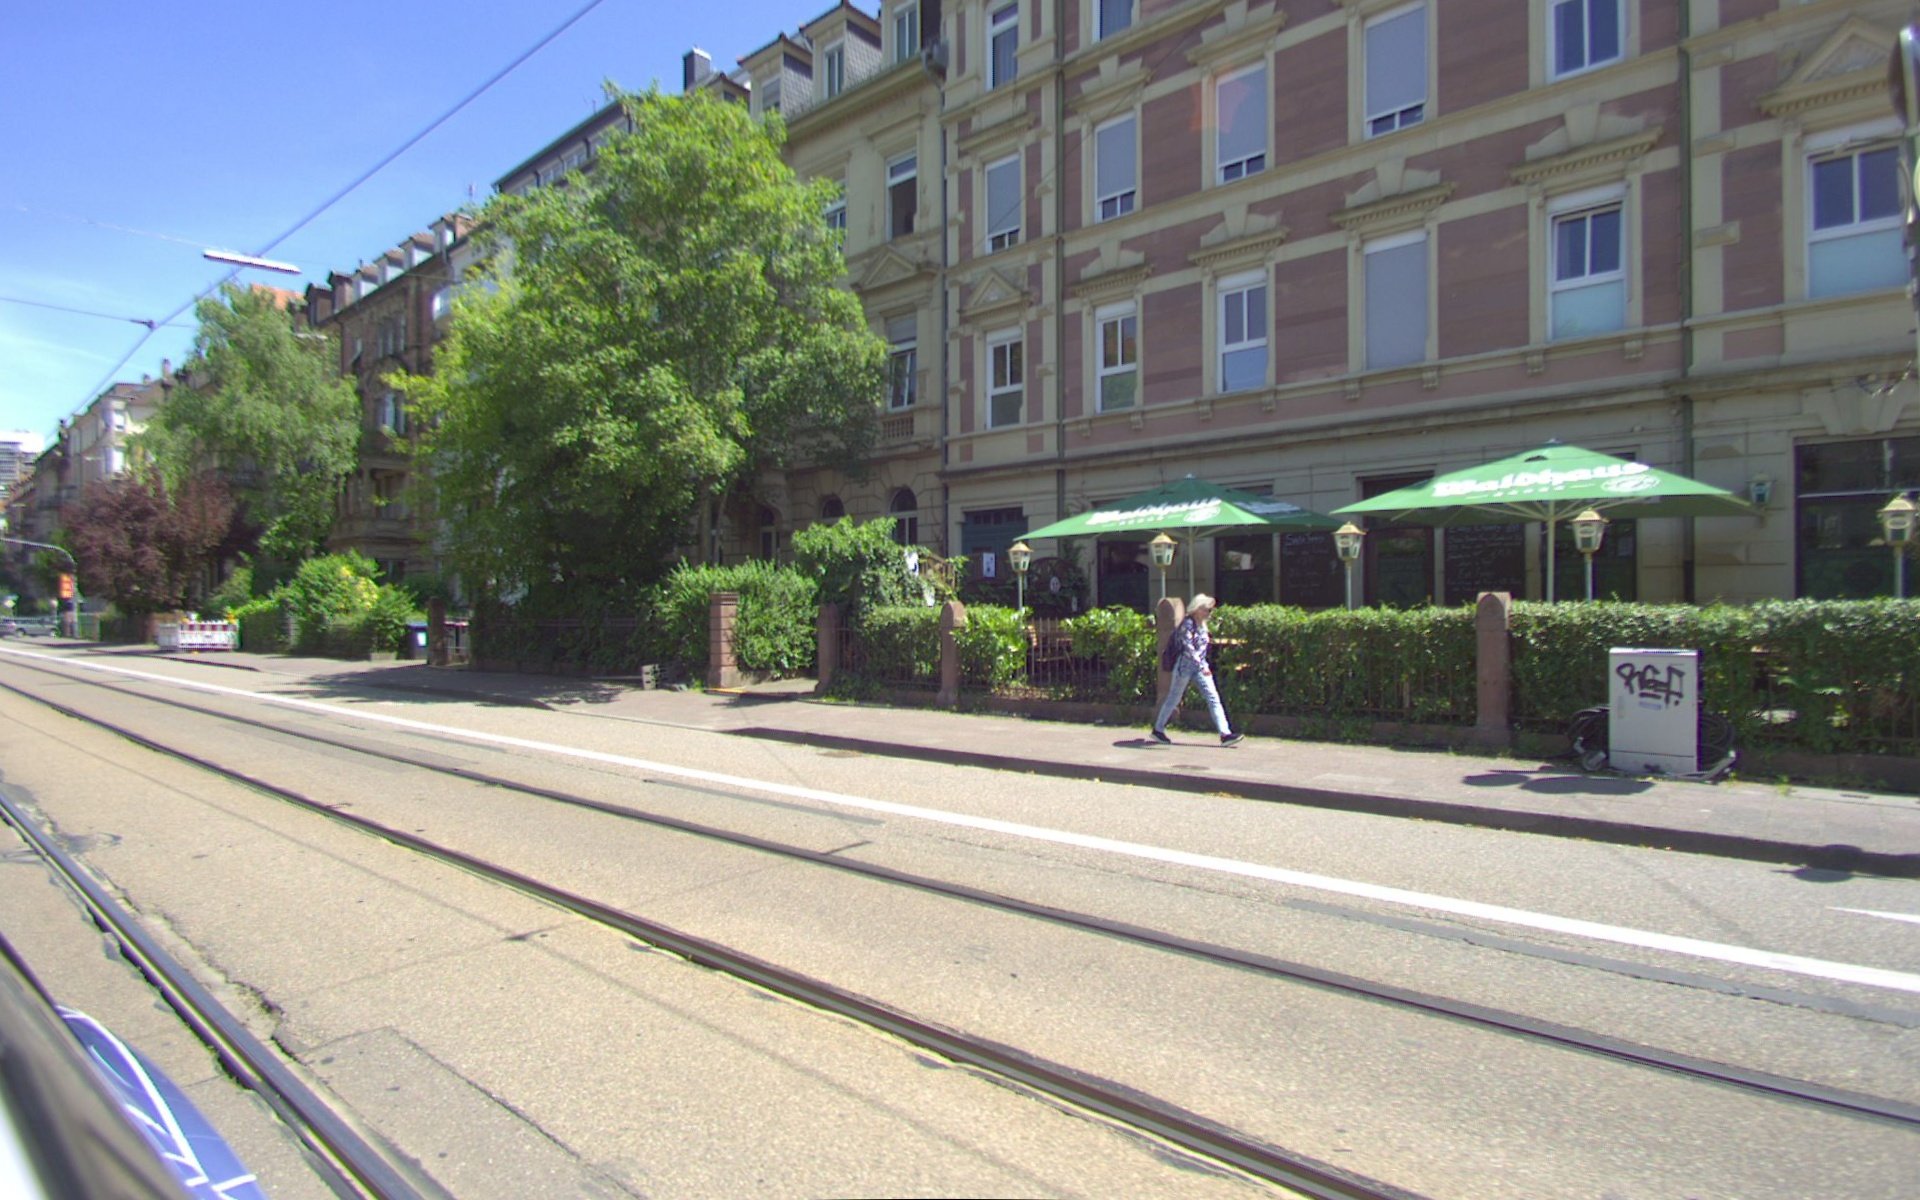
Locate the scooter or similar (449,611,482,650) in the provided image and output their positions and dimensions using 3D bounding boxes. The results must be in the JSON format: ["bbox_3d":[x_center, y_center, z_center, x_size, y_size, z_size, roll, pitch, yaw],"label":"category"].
[{"bbox_3d":[-15.037,0.923,30.776,0.693,1.166,0.610,-1,-1,31],"label":"scooter or similar"}]

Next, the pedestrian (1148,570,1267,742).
[{"bbox_3d":[2.513,0.540,10.300,0.940,1.654,0.732,-1,-1,44],"label":"pedestrian"}]

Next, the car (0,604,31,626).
[{"bbox_3d":[-68.429,1.069,72.789,3.998,1.487,1.973,0,1,41],"label":"car"}]

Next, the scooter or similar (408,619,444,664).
[{"bbox_3d":[-14.030,1.079,26.597,0.694,1.166,0.609,-1,-2,38],"label":"scooter or similar"}]

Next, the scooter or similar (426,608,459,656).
[{"bbox_3d":[-15.446,0.937,30.230,0.693,1.410,0.610,-1,-1,31],"label":"scooter or similar"}]

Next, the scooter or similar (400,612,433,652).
[{"bbox_3d":[-15.977,0.940,29.743,0.693,1.166,0.610,-1,-1,31],"label":"scooter or similar"}]
